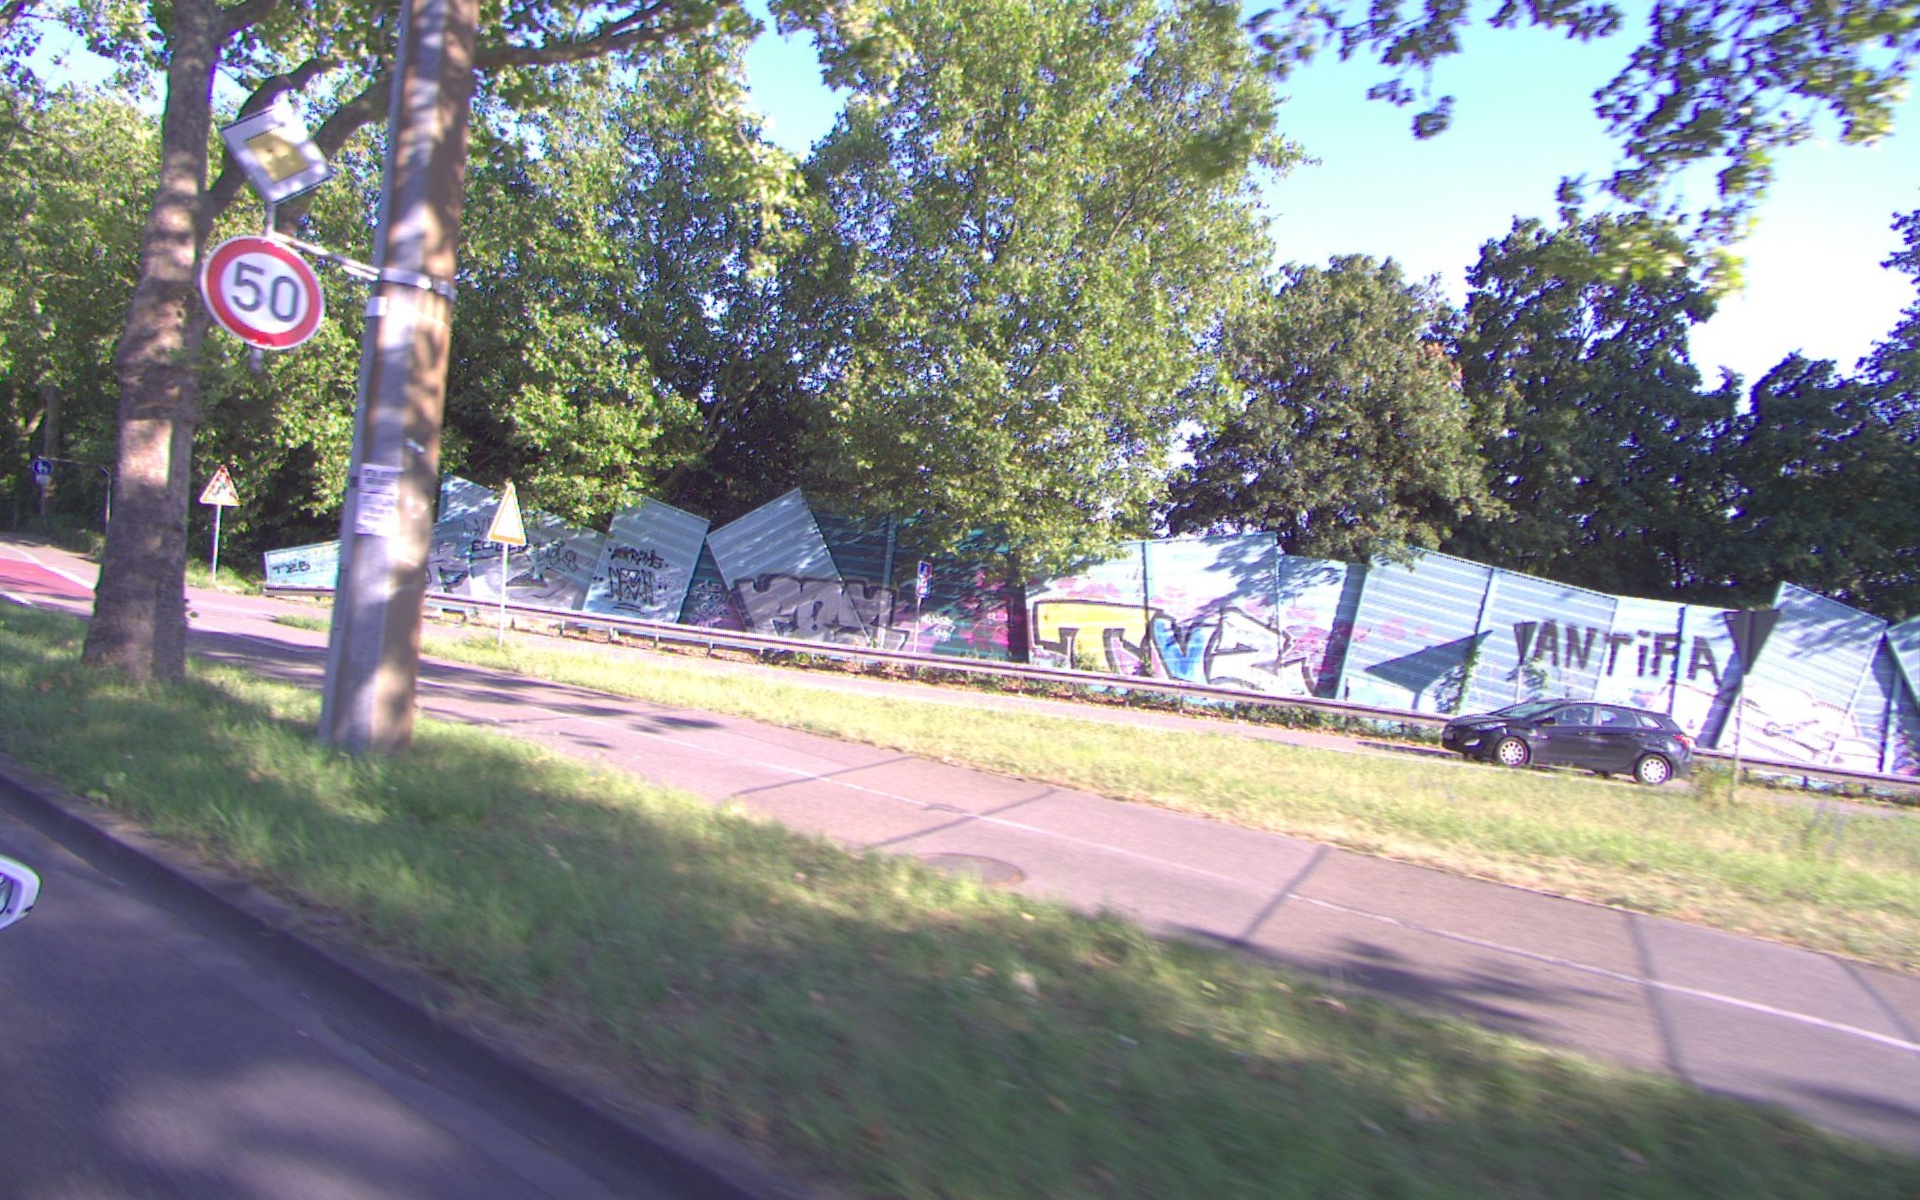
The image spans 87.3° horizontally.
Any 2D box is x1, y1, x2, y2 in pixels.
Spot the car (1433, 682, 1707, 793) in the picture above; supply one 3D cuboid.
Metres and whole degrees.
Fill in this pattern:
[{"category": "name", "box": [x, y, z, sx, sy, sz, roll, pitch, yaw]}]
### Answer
[{"category": "car", "box": [11.931, 2.660, 19.921, 4.143, 1.457, 1.800, 7, -1, 6]}]
